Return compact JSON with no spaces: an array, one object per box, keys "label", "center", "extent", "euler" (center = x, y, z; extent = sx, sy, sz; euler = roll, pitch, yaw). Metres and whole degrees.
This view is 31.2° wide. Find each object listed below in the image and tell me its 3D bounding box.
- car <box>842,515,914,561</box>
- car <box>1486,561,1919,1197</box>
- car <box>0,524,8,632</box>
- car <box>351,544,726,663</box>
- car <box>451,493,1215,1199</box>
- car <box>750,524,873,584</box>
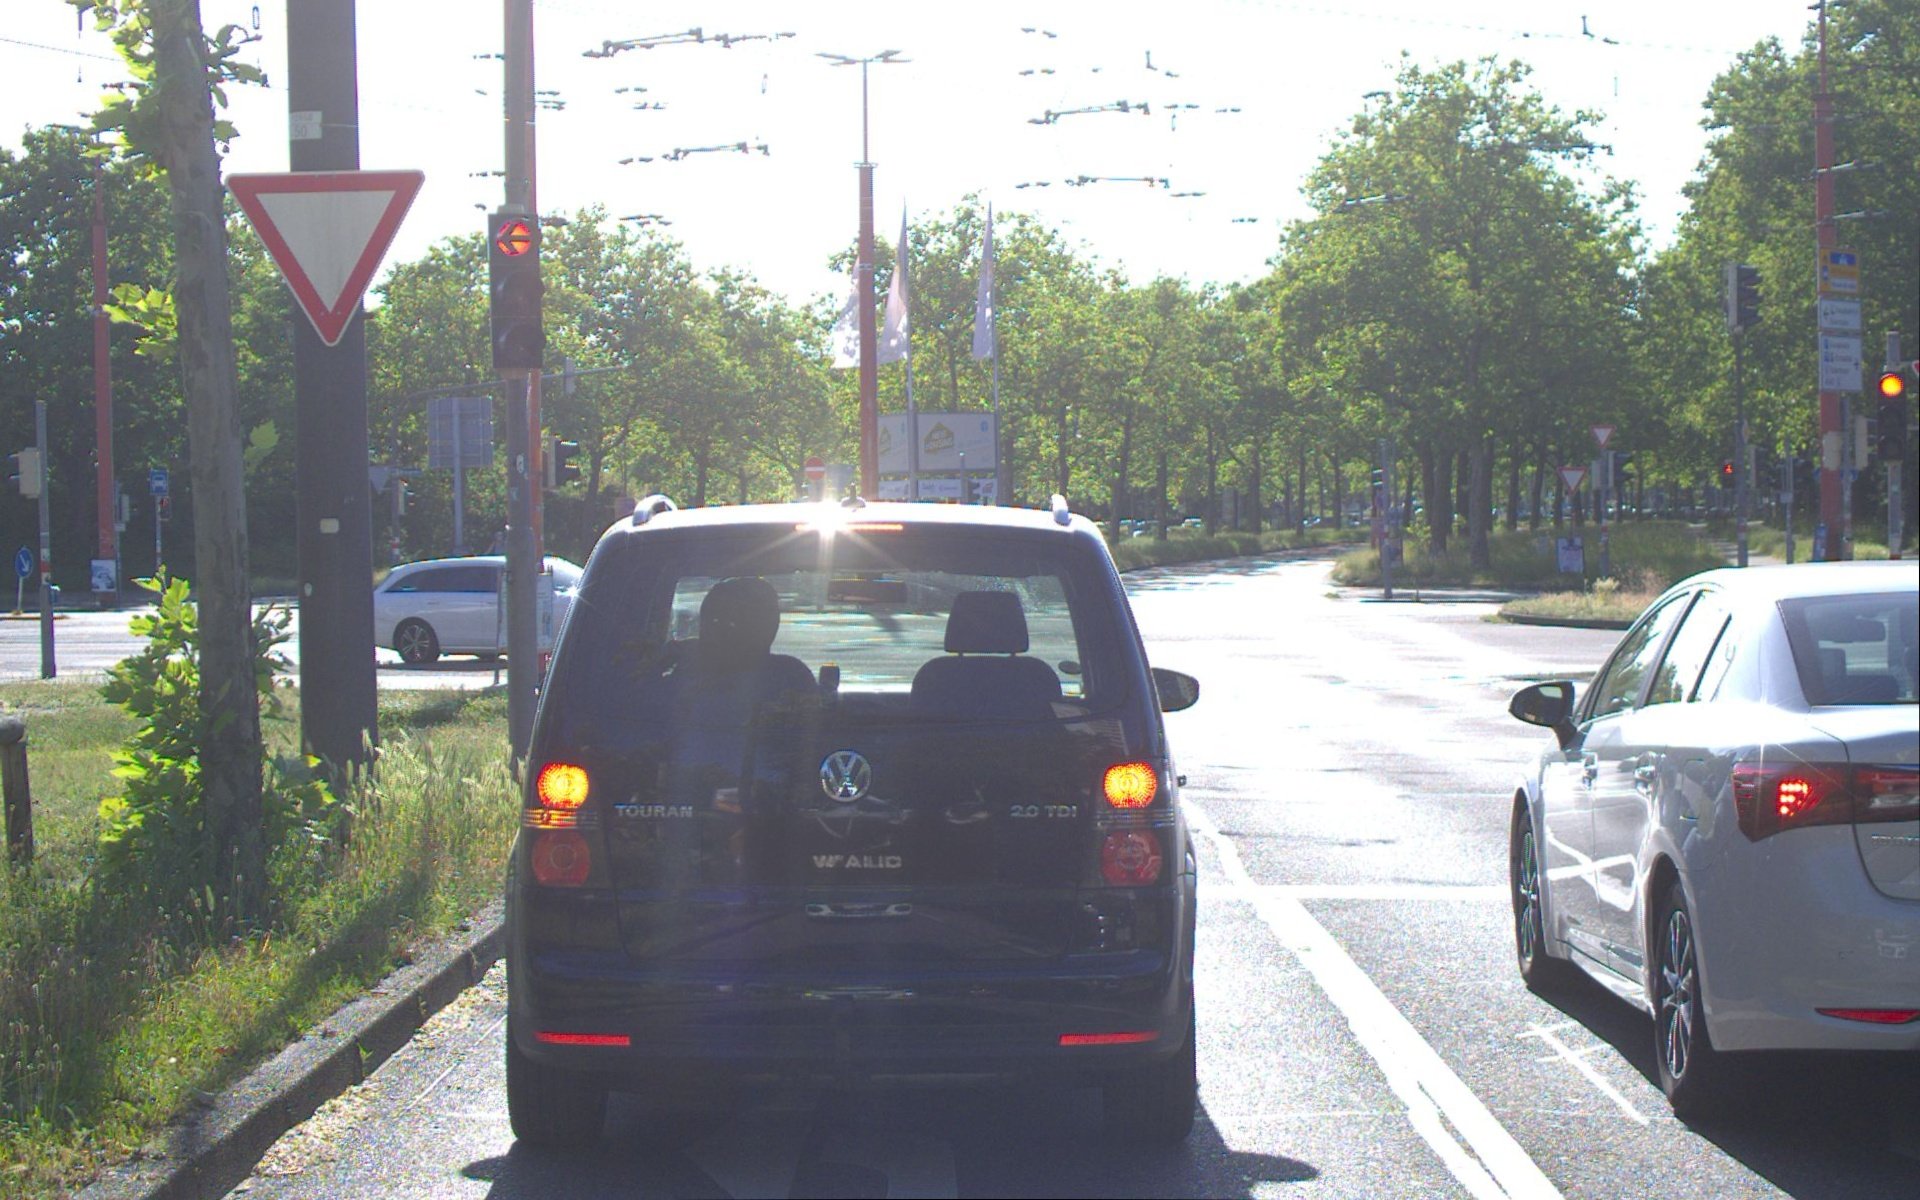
[{"label":"car","center":[-3.026,-2.320,128.170],"extent":[1.994,1.679,4.827],"euler":[0,1,7]},{"label":"car","center":[2.693,0.628,10.070],"extent":[1.715,1.449,4.144],"euler":[0,1,1]},{"label":"car","center":[-18.760,-0.365,58.734],"extent":[4.787,1.829,1.911],"euler":[0,1,27]},{"label":"car","center":[-5.841,0.019,47.508],"extent":[4.922,1.569,1.997],"euler":[0,1,29]},{"label":"car","center":[-0.311,0.544,9.869],"extent":[1.737,1.635,4.000],"euler":[0,1,-1]},{"label":"car","center":[-4.218,-1.325,98.345],"extent":[1.995,1.679,4.825],"euler":[0,1,17]}]
